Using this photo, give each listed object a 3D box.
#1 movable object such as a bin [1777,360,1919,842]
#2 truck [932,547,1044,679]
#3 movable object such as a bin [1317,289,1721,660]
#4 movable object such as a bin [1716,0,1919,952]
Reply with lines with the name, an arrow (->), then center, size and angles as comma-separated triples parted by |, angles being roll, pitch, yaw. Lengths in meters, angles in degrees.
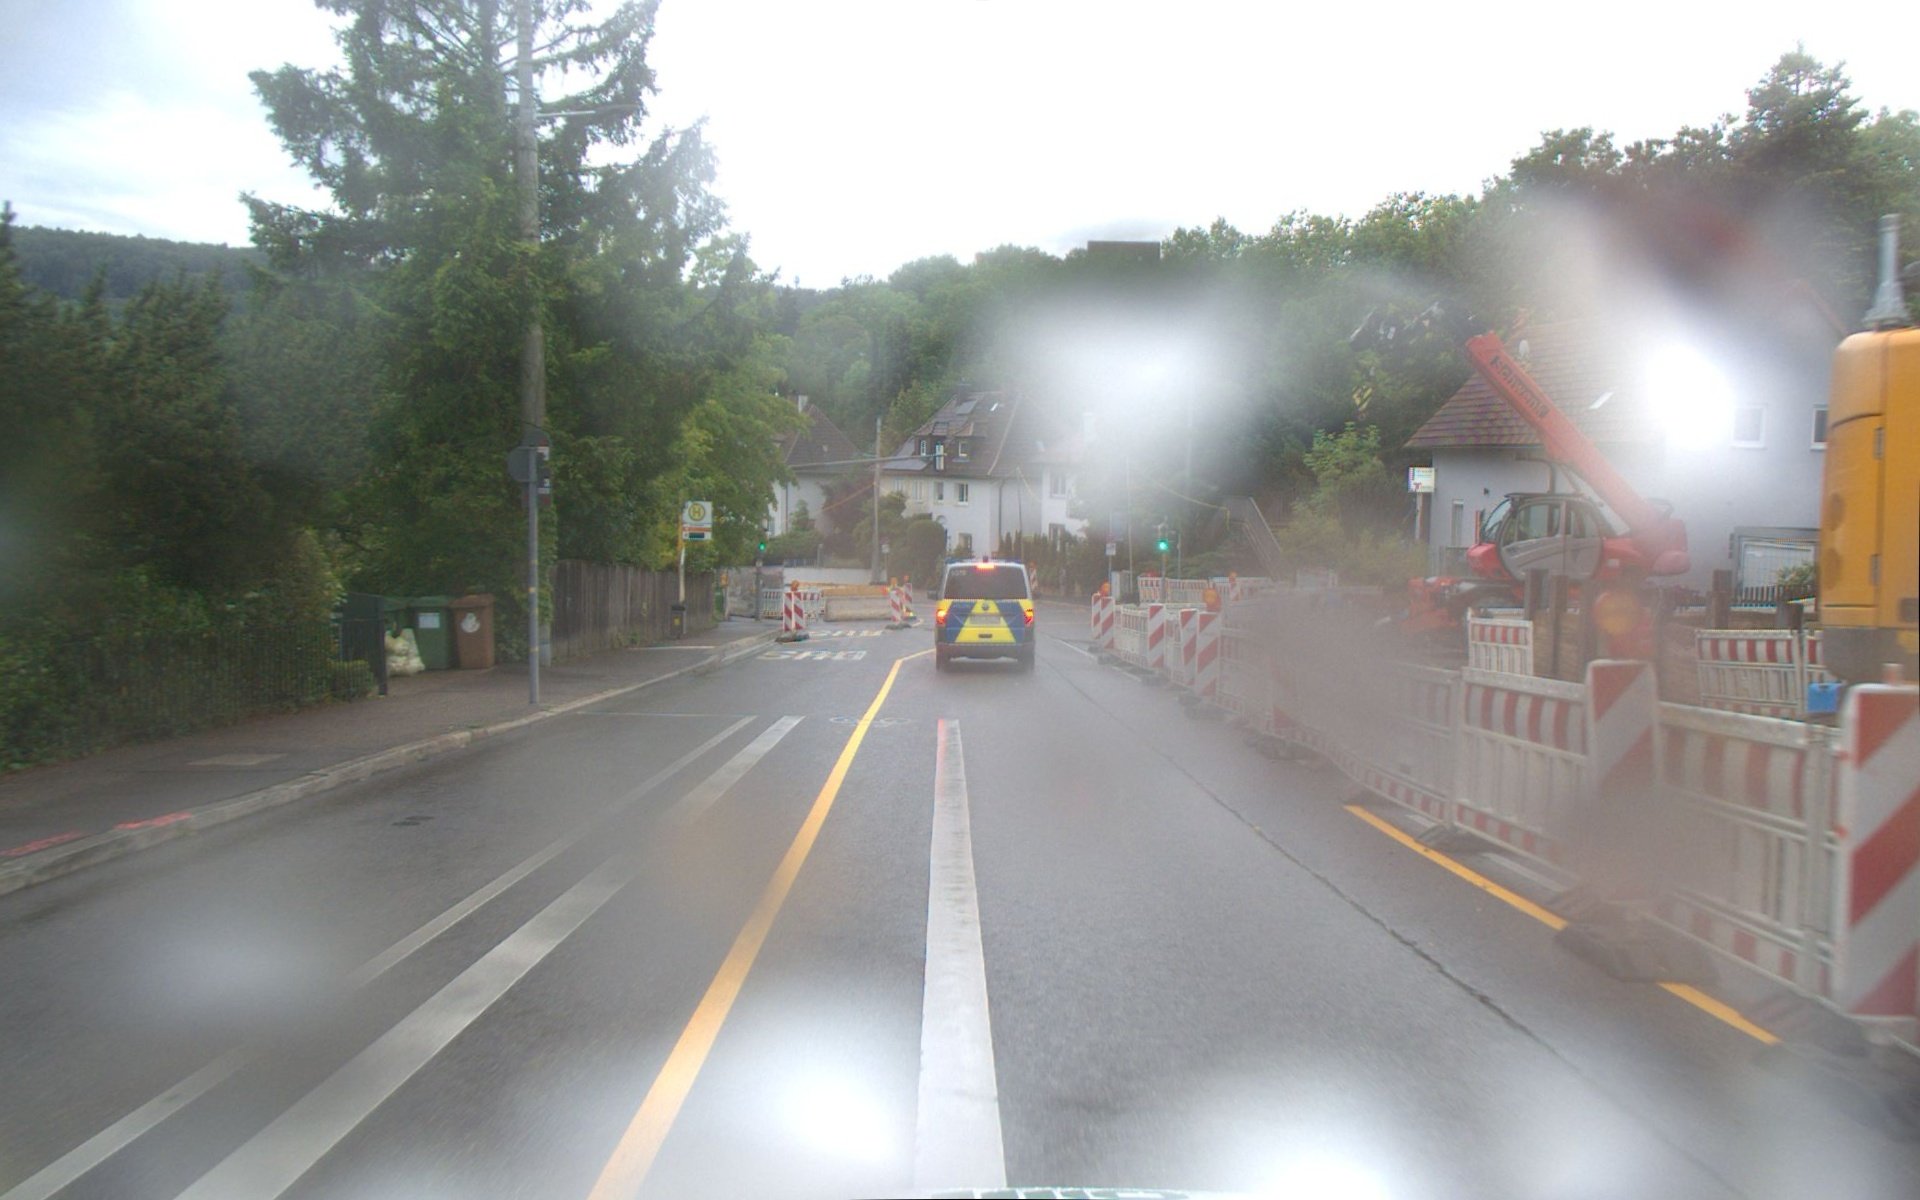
movable object such as a bin -> 8.463, 0.034, 11.728 | 3.915, 3.257, 2.404 | 1, 6, -11
truck -> 0.515, 0.157, 31.426 | 1.952, 2.047, 4.738 | 0, 5, 1
movable object such as a bin -> 10.770, -2.317, 32.330 | 6.813, 6.806, 3.043 | 0, 0, -5
movable object such as a bin -> 7.818, -1.122, 4.156 | 3.034, 5.005, 10.678 | 2, -2, -36
